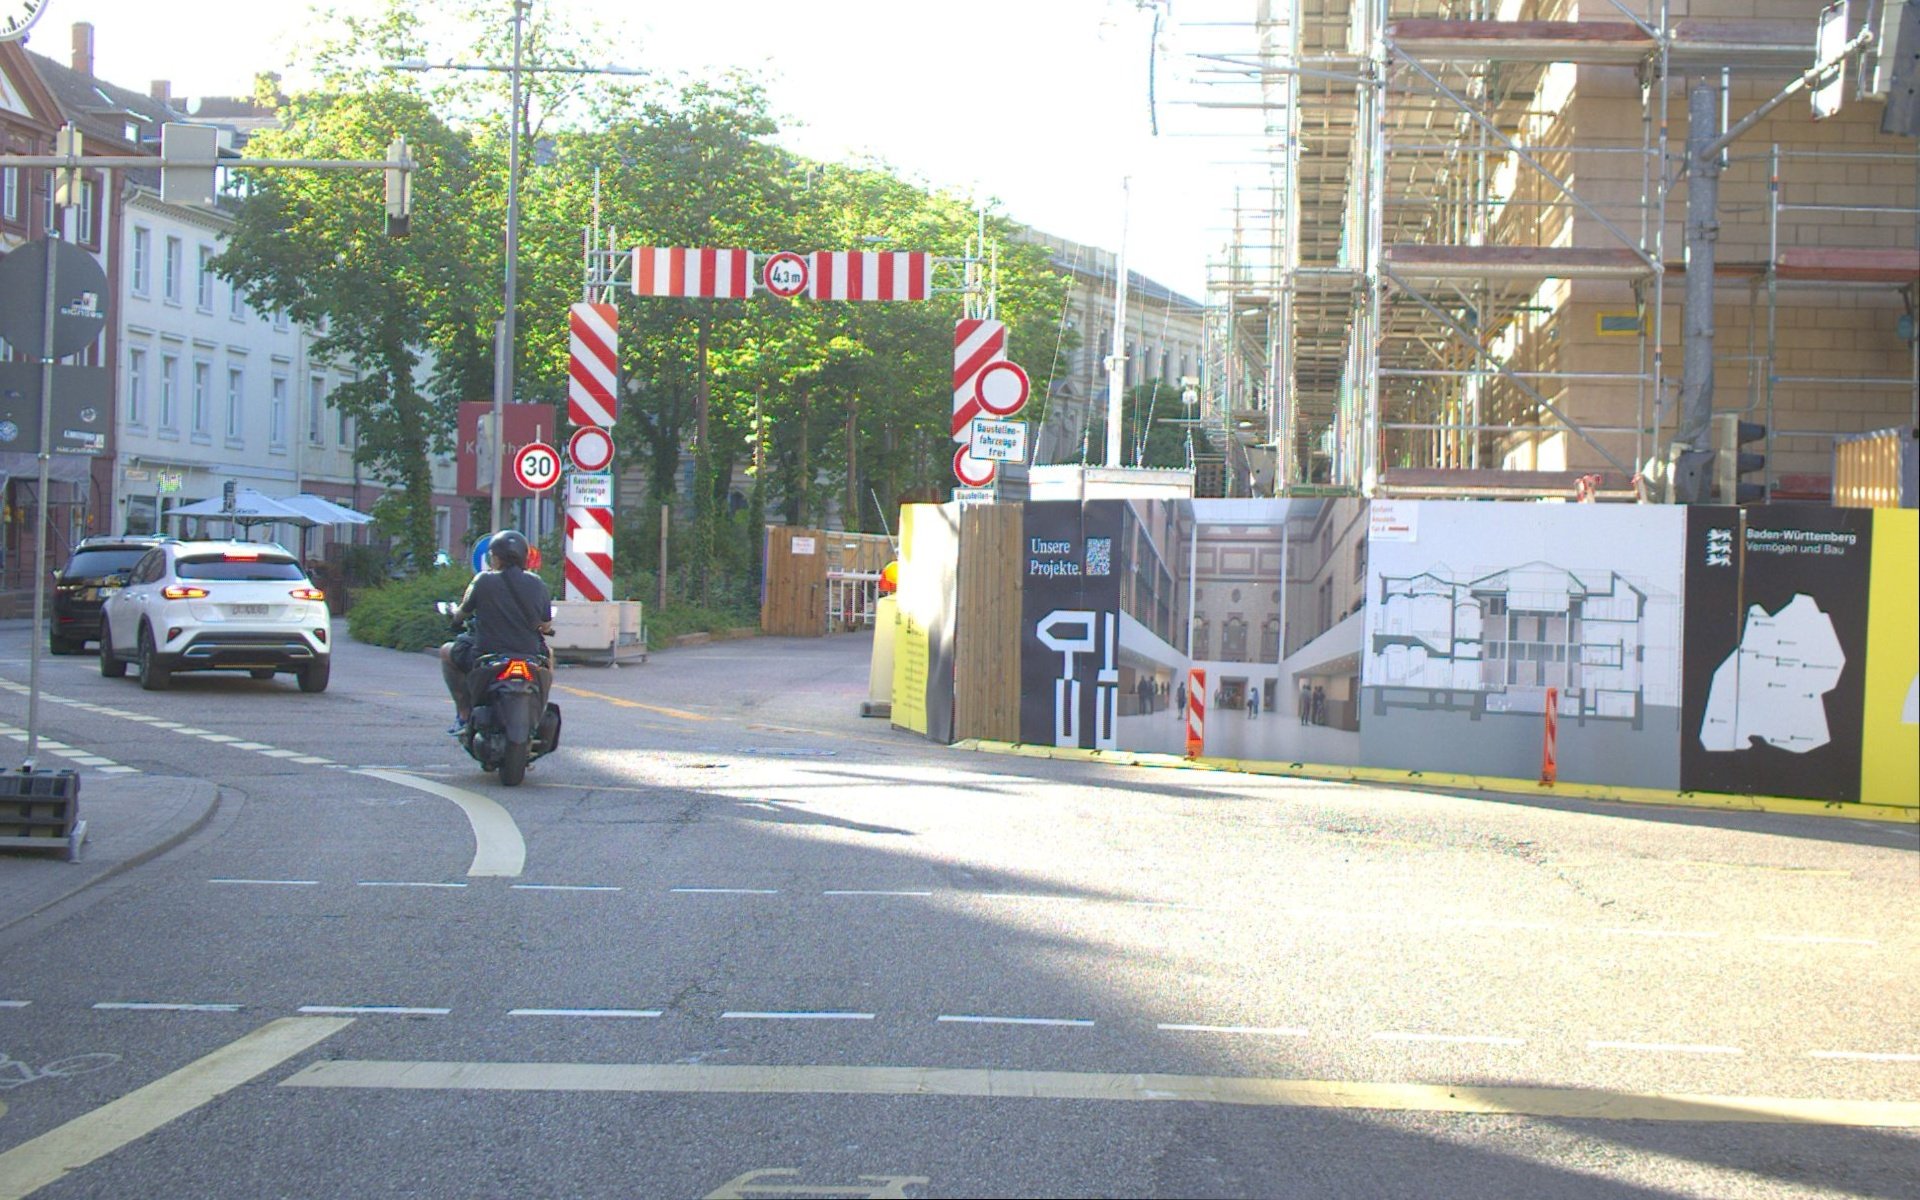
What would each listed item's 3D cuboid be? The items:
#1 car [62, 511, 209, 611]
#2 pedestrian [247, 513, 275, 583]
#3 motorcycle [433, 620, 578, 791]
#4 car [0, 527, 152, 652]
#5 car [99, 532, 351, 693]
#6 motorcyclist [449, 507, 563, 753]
[{"bbox_3d":[-15.113,-0.730,63.194,1.840,1.707,4.058,2,1,-2],"label":"car"},{"bbox_3d":[-17.880,-1.326,87.937,0.438,1.769,0.597,1,0,20],"label":"pedestrian"},{"bbox_3d":[-3.129,0.703,23.534,0.796,1.062,1.726,2,1,-13],"label":"motorcycle"},{"bbox_3d":[-11.459,-0.164,44.013,1.839,1.458,4.059,2,1,-17],"label":"car"},{"bbox_3d":[-7.602,0.092,35.286,1.850,1.475,4.059,2,1,-21],"label":"car"},{"bbox_3d":[-3.122,0.197,23.593,0.657,1.645,0.651,2,1,-13],"label":"motorcyclist"}]
